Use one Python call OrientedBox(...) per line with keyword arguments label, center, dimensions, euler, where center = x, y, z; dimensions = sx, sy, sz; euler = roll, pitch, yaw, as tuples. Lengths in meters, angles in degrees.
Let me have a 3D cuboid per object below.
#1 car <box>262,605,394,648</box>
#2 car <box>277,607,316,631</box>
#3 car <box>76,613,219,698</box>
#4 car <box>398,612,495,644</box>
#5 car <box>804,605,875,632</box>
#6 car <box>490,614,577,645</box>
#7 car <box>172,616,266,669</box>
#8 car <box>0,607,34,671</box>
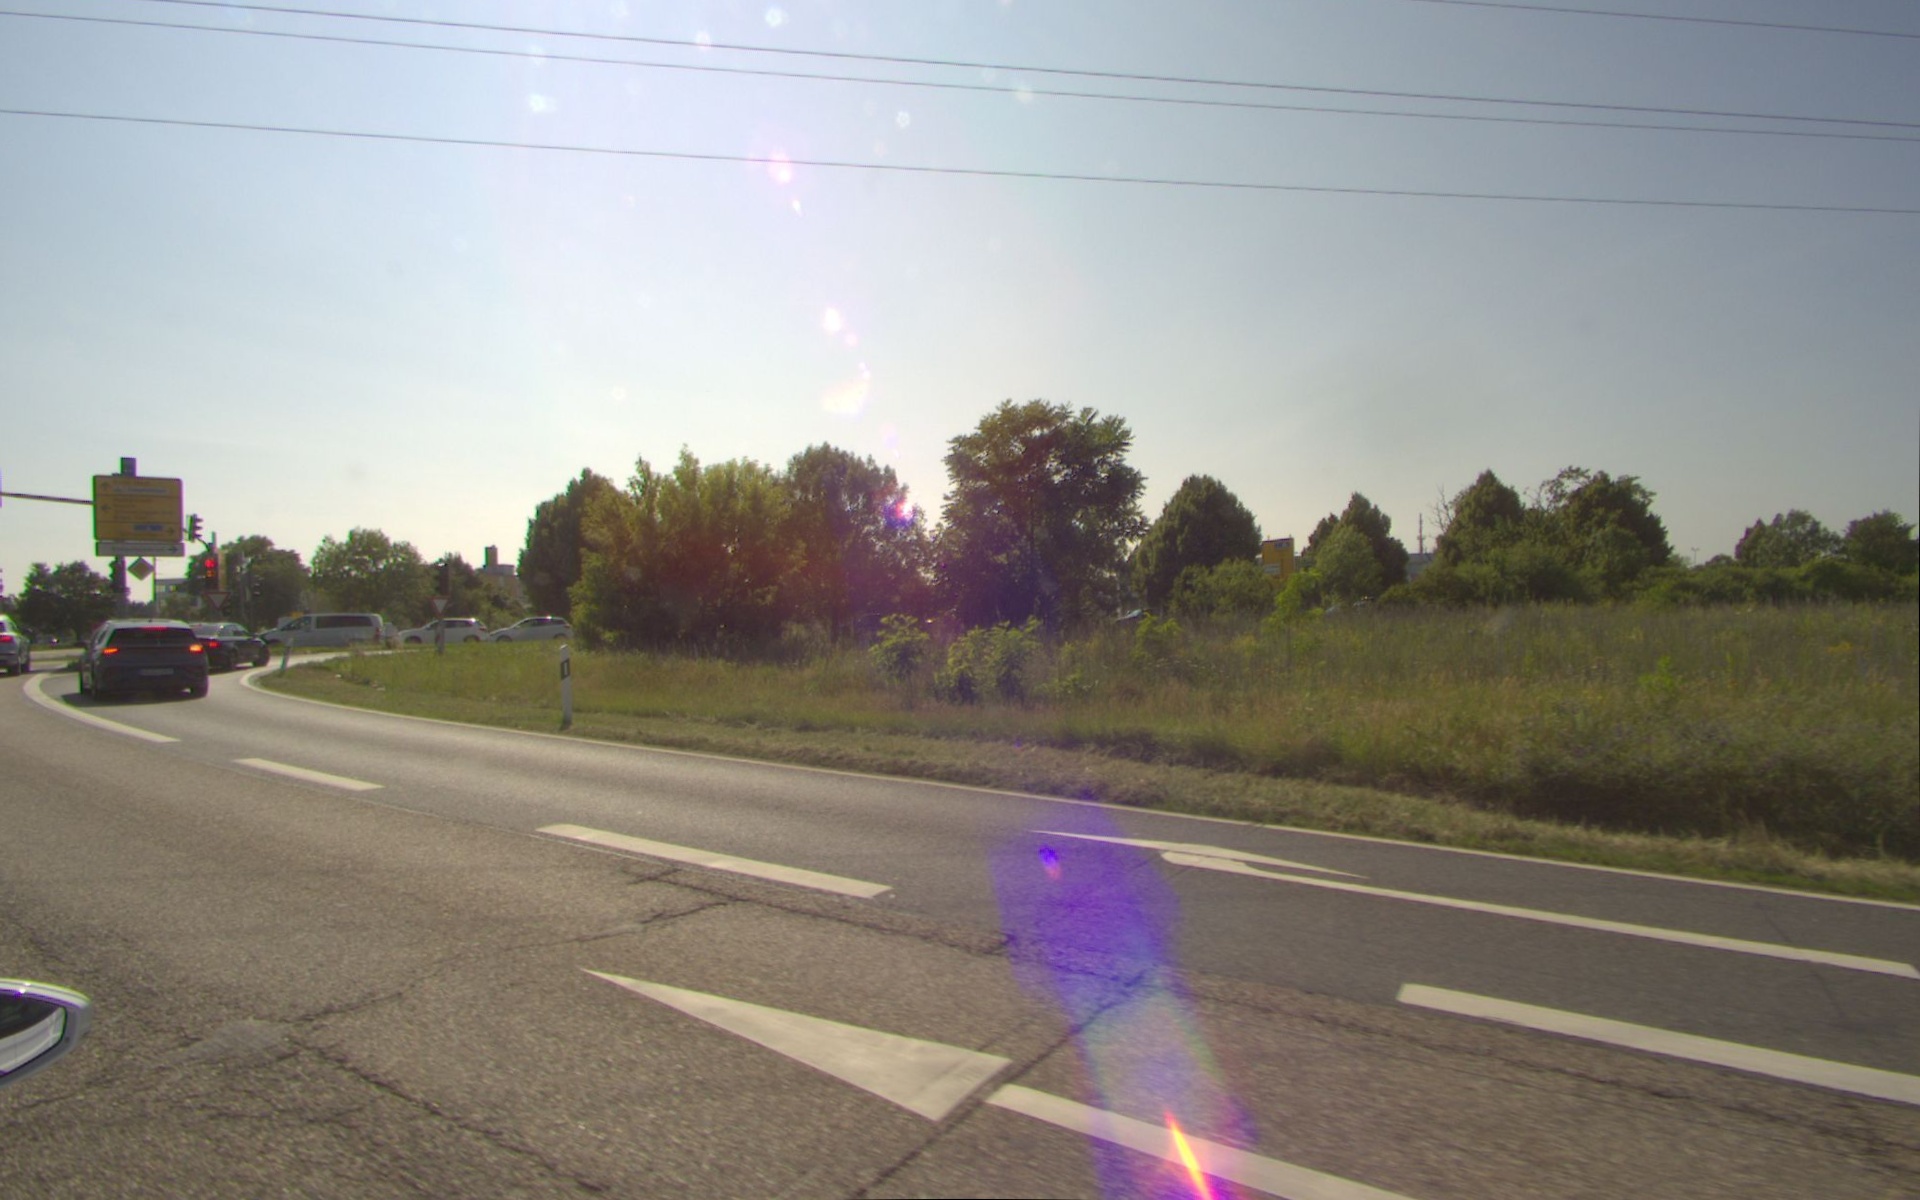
OrientedBox(label="car", center=(-29.311, 1.232, 46.628), dimensions=(4.867, 1.943, 1.994), euler=(1, -1, -22))
OrientedBox(label="car", center=(-63.335, 1.824, 95.652), dimensions=(1.902, 2.164, 4.633), euler=(1, -2, -18))
OrientedBox(label="car", center=(-16.658, 1.052, 20.470), dimensions=(4.055, 1.537, 1.763), euler=(0, -1, 43))
OrientedBox(label="car", center=(-26.225, 1.433, 51.302), dimensions=(4.264, 1.539, 1.802), euler=(-1, 0, -22))
OrientedBox(label="car", center=(-7.066, 1.074, 58.702), dimensions=(3.815, 1.539, 1.803), euler=(-1, 0, -21))
OrientedBox(label="car", center=(-21.020, 1.429, 49.468), dimensions=(3.846, 1.484, 1.719), euler=(0, -1, -20))
OrientedBox(label="car", center=(-21.930, 1.199, 29.786), dimensions=(1.622, 1.404, 3.981), euler=(-1, 0, -28))
OrientedBox(label="car", center=(-26.862, 1.058, 27.725), dimensions=(1.621, 1.698, 3.717), euler=(1, -2, -41))
